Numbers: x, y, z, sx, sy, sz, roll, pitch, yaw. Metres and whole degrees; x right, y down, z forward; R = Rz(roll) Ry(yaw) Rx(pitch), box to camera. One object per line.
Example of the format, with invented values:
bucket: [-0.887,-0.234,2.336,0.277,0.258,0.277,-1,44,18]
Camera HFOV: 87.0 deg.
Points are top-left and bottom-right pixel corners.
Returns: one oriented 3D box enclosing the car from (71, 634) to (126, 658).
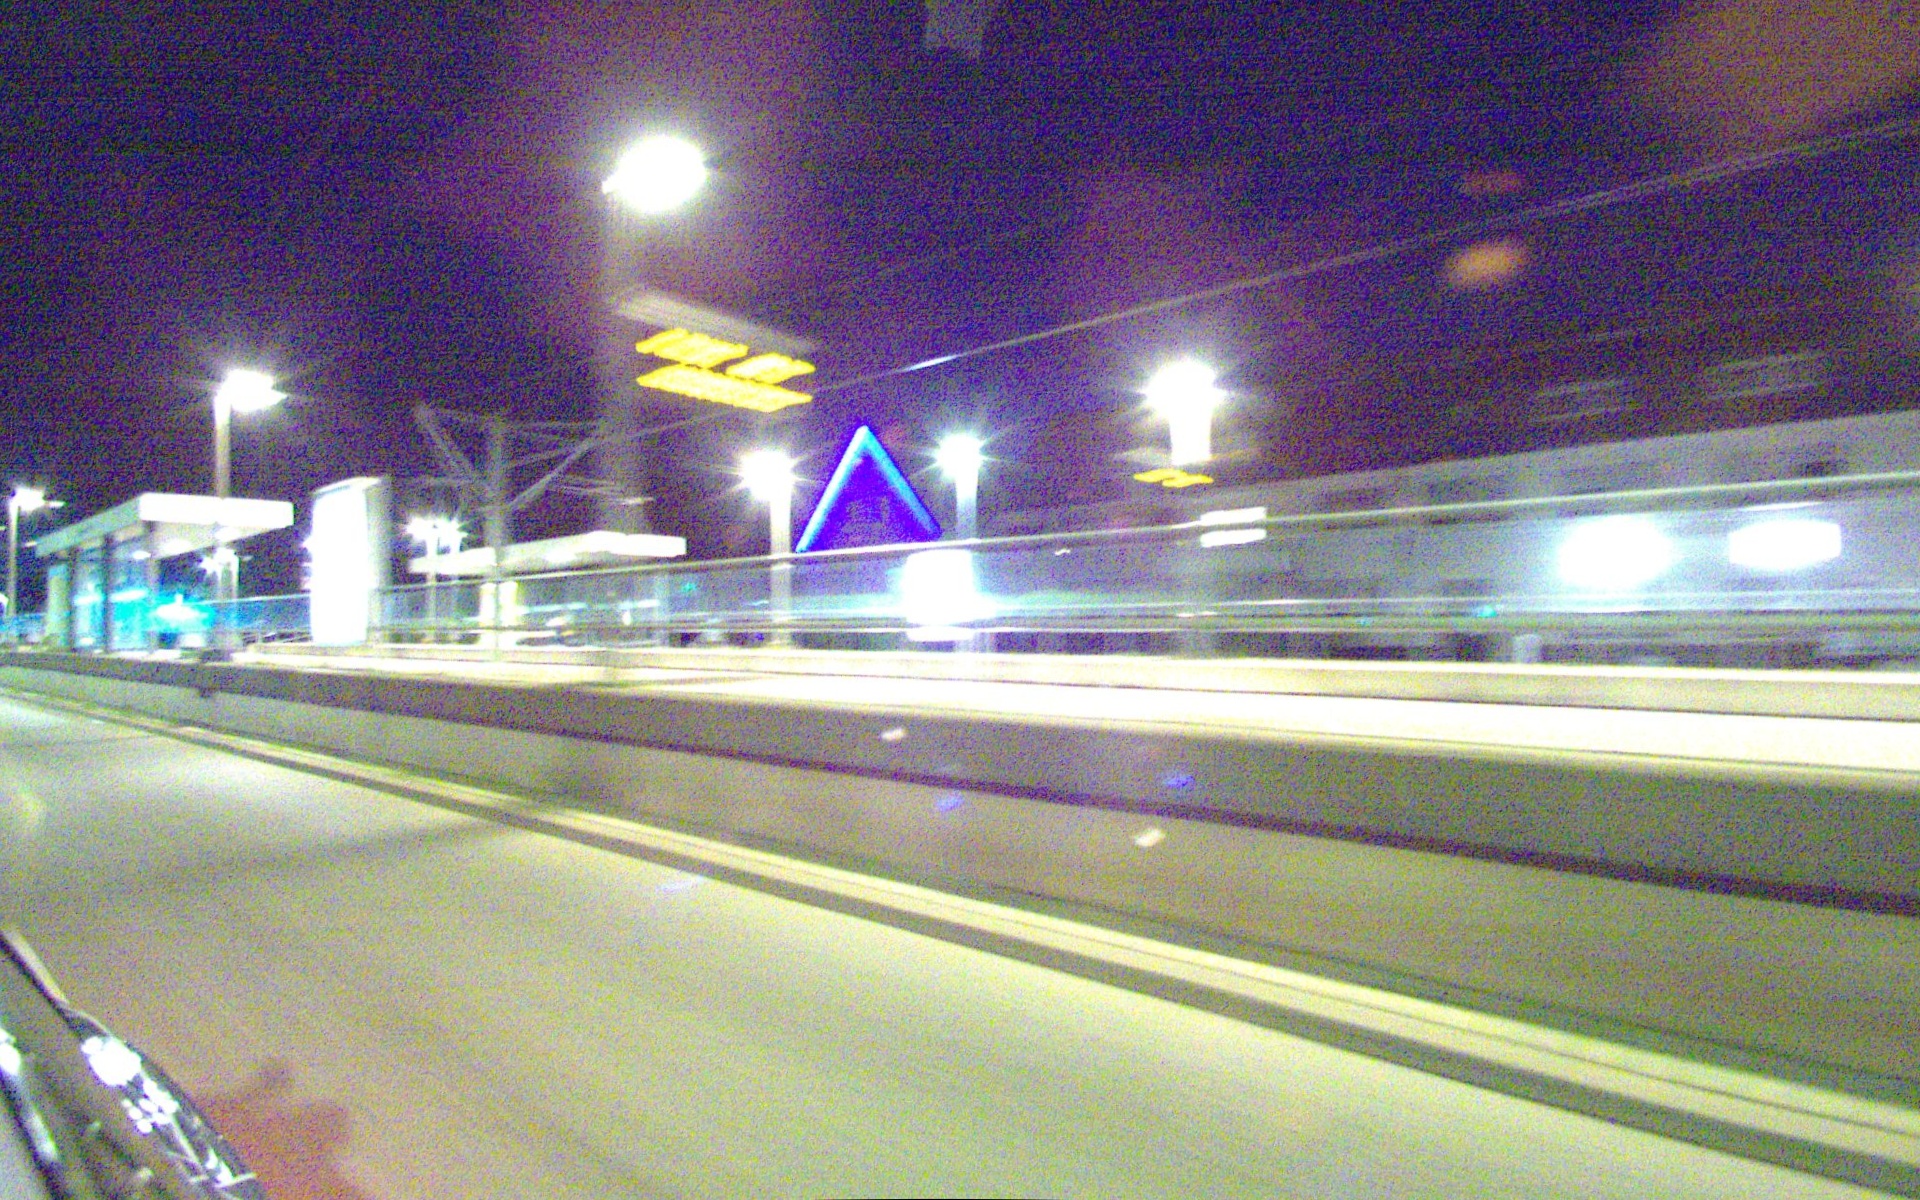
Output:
car: [-57.208,3.071,67.178,4.086,1.516,1.849,-2,-3,36]
